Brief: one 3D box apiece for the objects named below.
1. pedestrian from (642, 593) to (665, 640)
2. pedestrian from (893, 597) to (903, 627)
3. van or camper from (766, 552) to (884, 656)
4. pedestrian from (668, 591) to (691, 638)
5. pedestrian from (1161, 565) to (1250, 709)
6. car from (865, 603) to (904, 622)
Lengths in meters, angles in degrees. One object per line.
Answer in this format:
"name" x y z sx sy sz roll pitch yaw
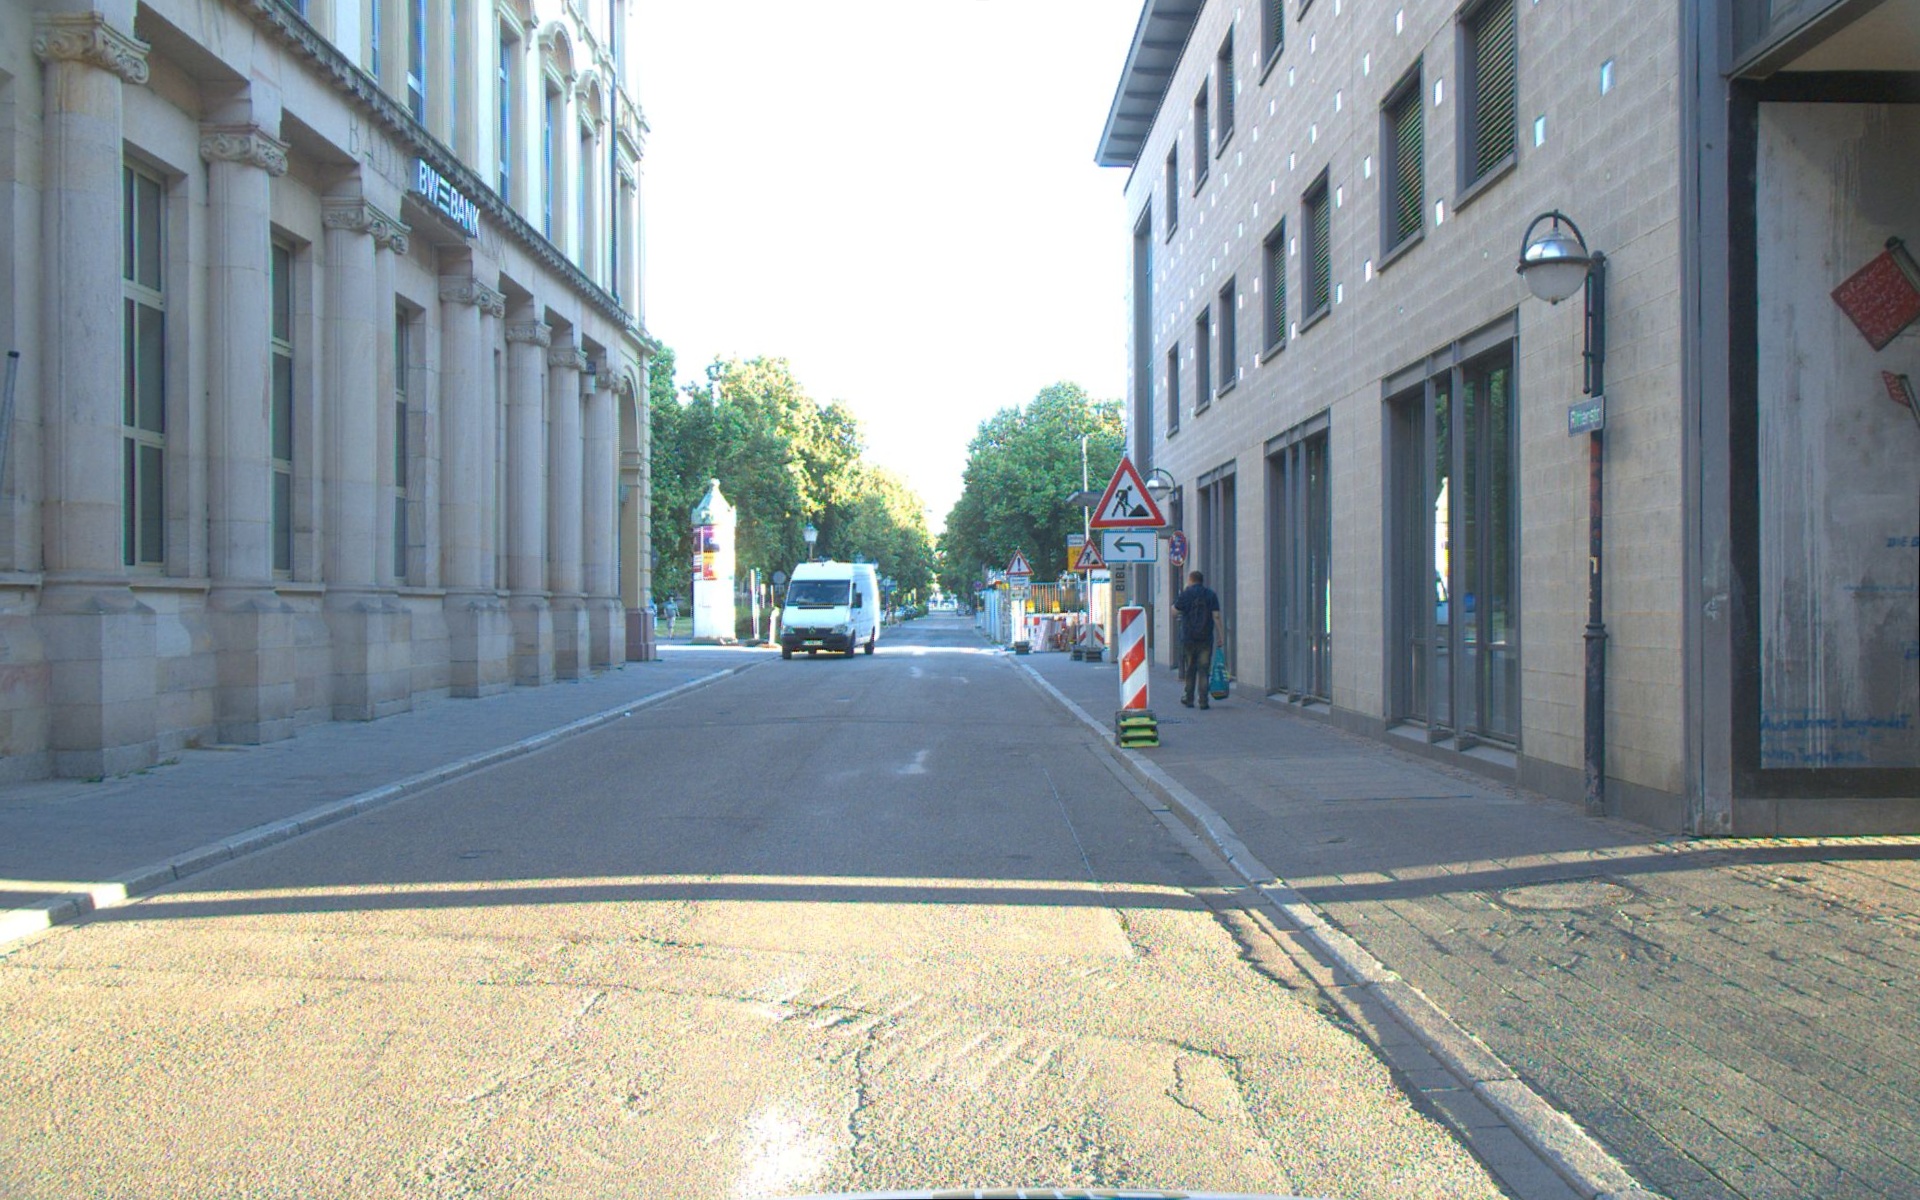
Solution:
"pedestrian" -11.929 0.637 64.392 0.835 1.839 0.661 0 0 -14
"pedestrian" -4.303 0.845 114.958 0.598 2.049 0.903 0 0 -9
"van or camper" -3.558 0.087 44.926 2.172 2.630 6.376 0 0 5
"pedestrian" -10.969 0.571 64.648 0.835 1.839 0.661 0 0 -14
"pedestrian" 3.233 0.479 21.854 0.980 1.835 0.881 -2 -1 -1
"car" -7.357 1.191 160.857 3.486 1.814 1.791 -1 -1 9
